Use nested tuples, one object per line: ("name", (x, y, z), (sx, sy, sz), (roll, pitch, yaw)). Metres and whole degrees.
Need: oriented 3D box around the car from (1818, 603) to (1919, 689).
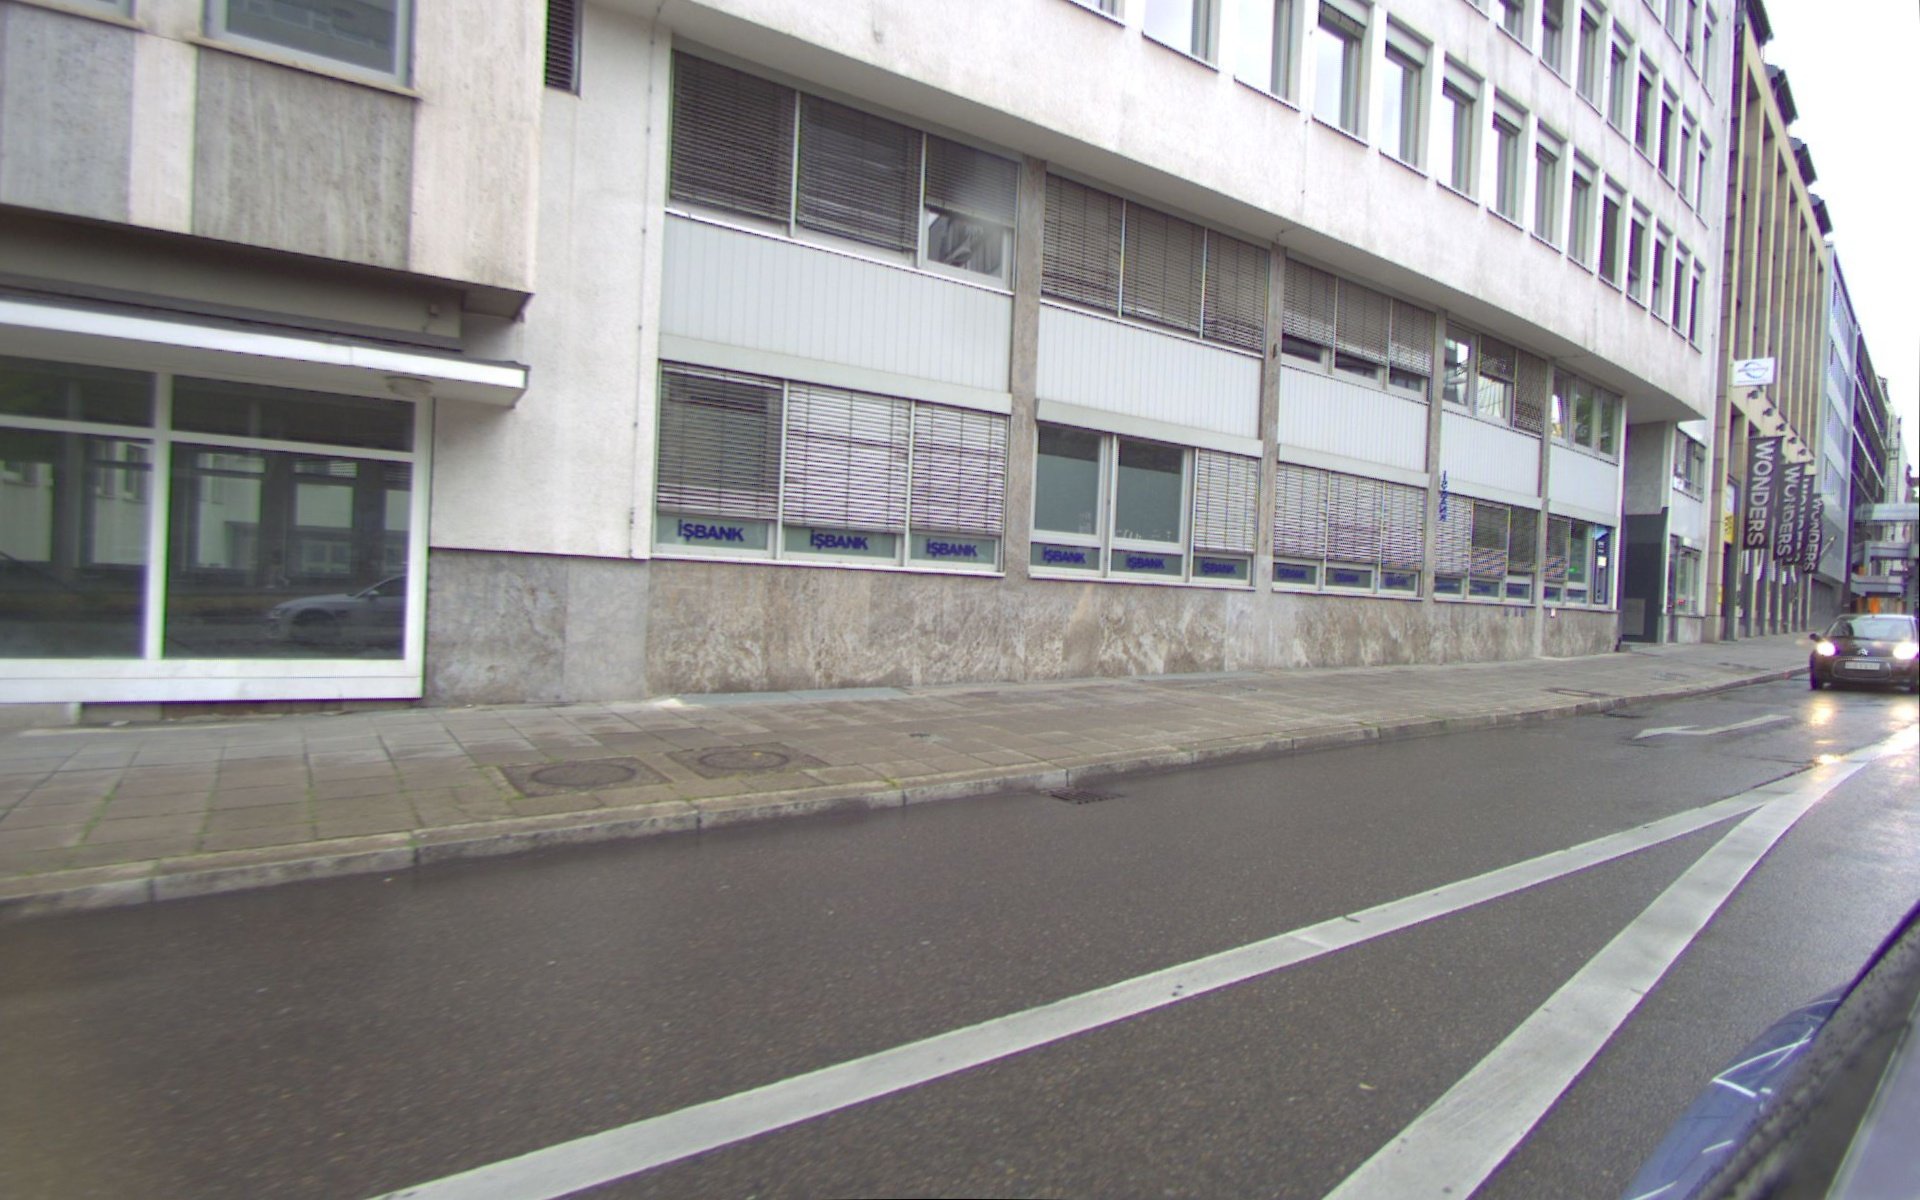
("car", (17.846, 0.820, 19.440), (3.424, 1.491, 1.664), (1, 0, -42))
